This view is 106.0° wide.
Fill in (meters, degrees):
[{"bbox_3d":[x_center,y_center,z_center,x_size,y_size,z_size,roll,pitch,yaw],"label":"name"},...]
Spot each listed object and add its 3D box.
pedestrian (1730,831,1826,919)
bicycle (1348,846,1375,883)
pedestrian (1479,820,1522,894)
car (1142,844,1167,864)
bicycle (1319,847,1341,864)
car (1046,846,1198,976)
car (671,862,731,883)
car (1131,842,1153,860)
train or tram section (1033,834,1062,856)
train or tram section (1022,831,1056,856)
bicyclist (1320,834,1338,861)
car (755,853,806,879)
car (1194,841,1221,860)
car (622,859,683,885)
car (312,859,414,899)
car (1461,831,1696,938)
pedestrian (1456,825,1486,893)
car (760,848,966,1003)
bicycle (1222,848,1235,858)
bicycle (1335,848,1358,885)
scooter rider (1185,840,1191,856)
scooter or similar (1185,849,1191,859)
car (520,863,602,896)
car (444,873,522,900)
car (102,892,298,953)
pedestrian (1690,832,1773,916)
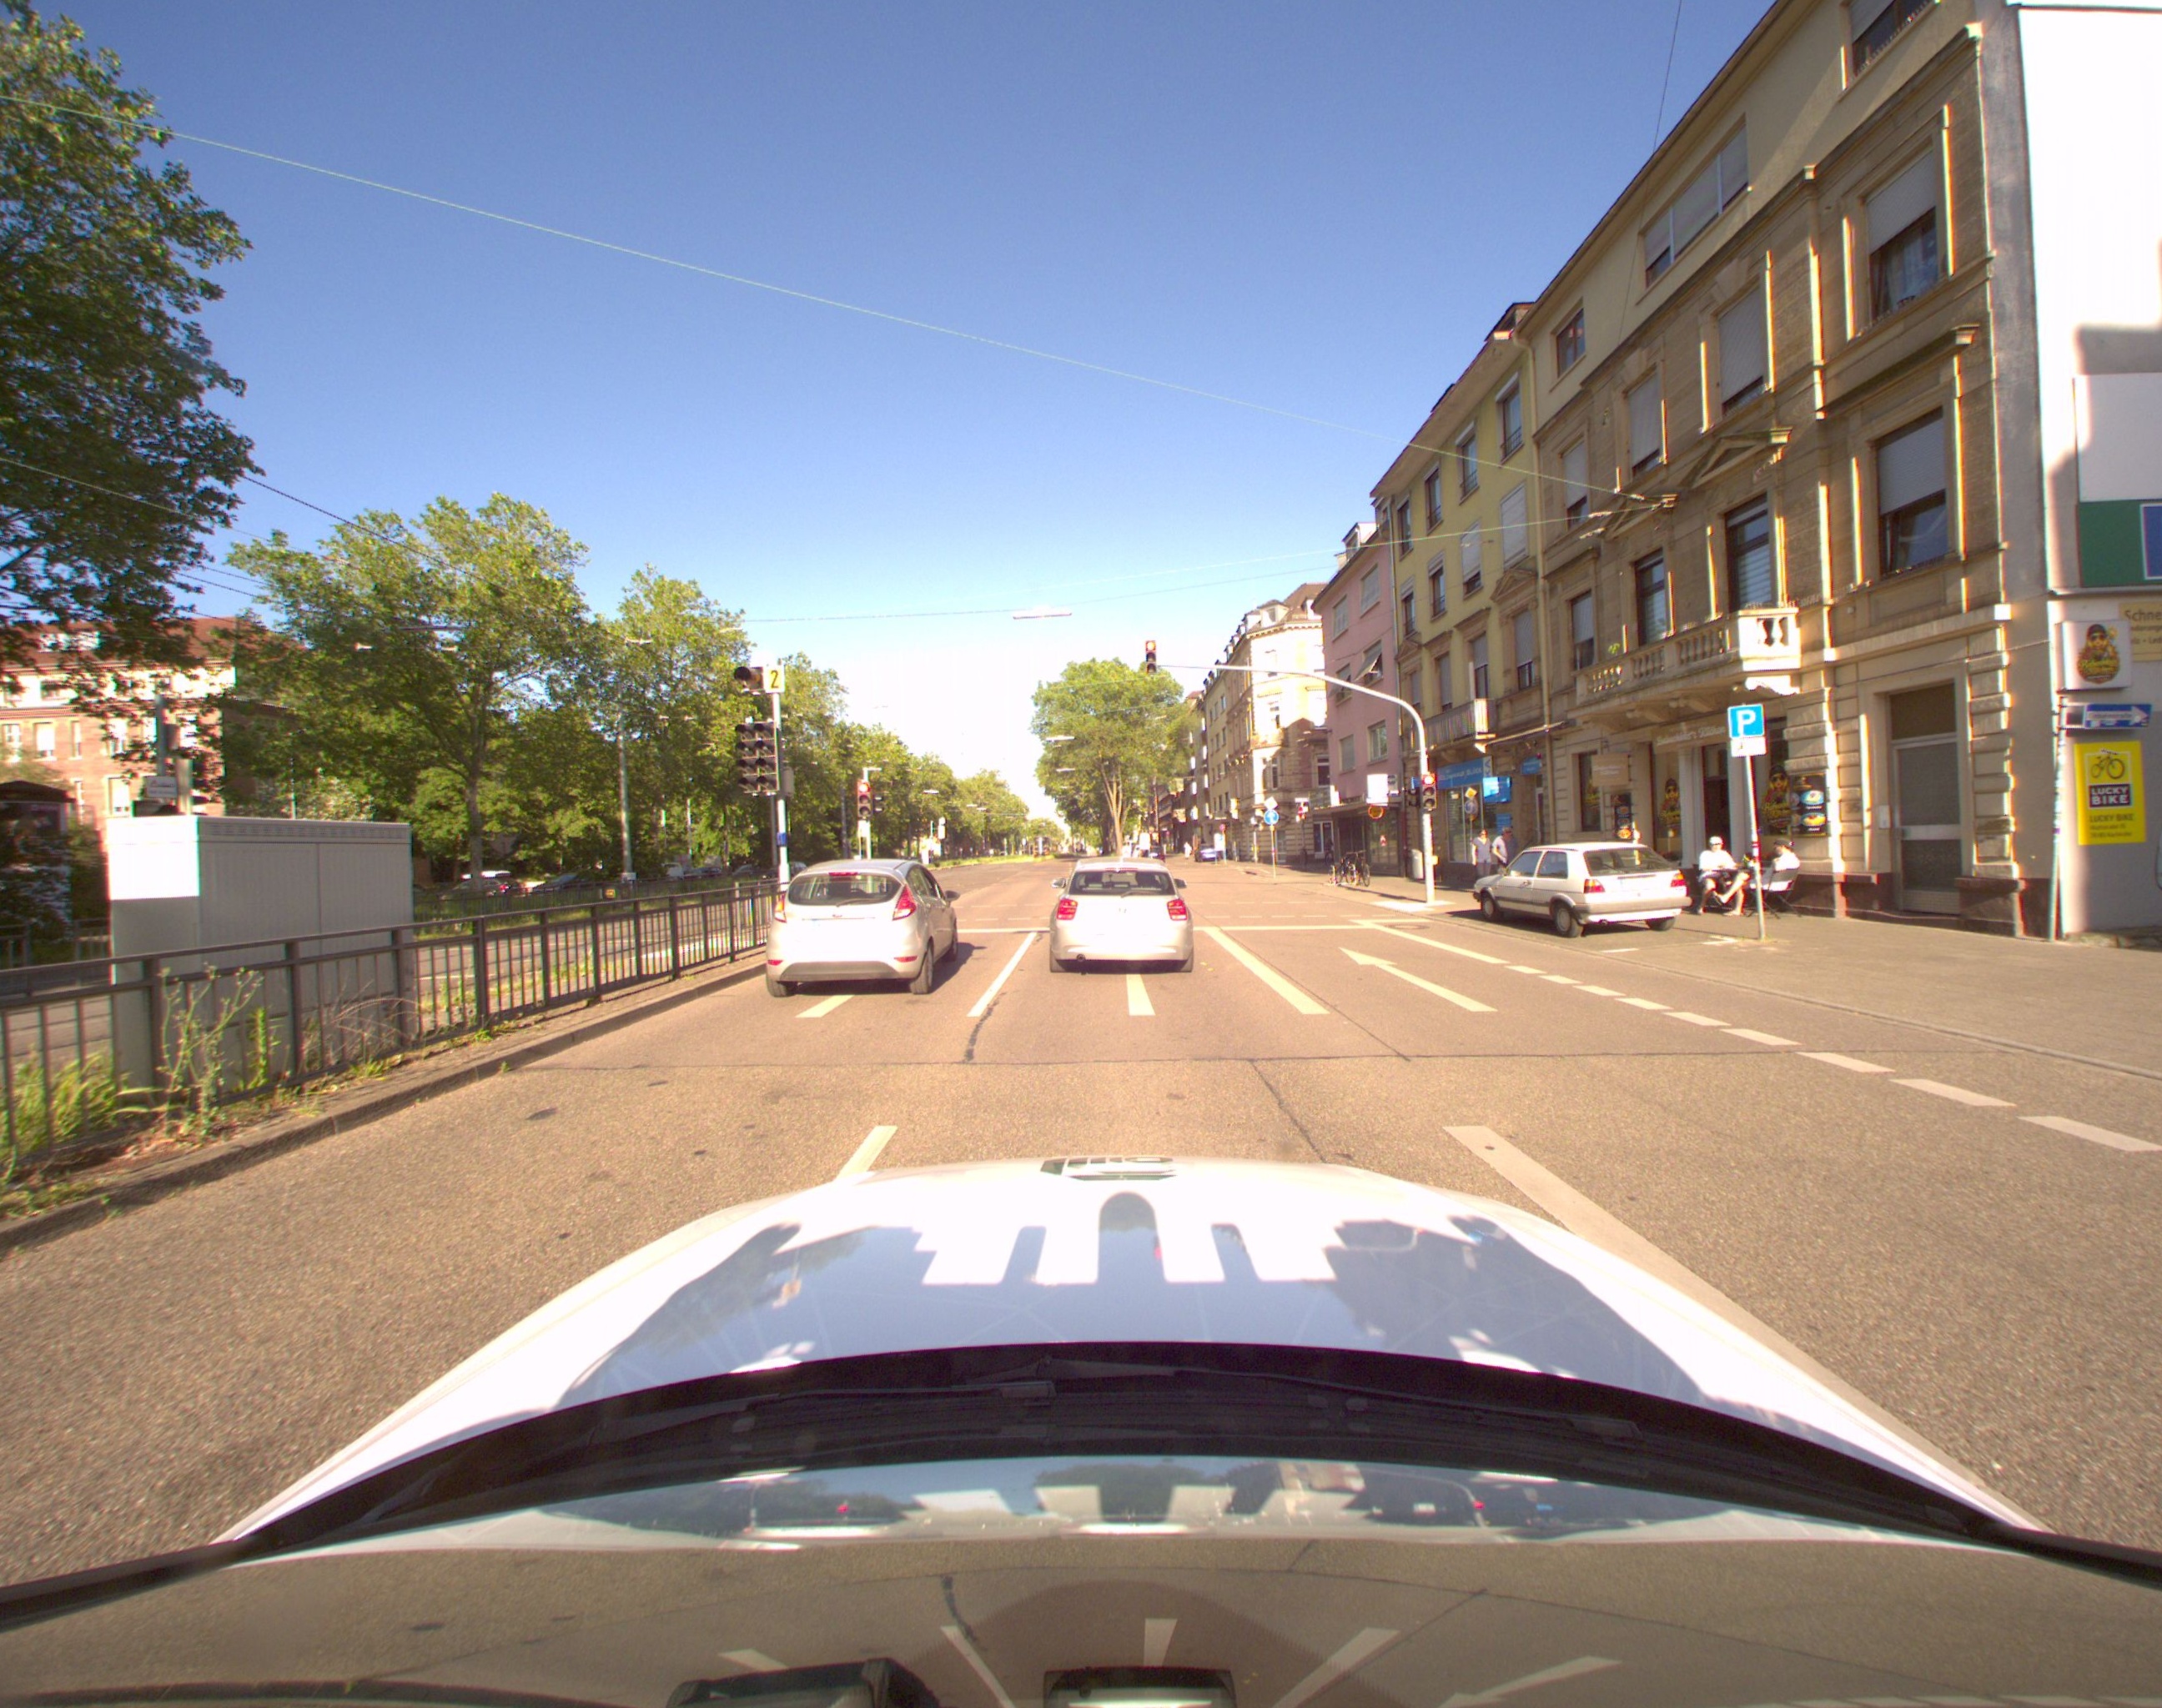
[{"bbox_3d":[10.981,0.320,12.850,0.899,1.281,0.655,-4,0,-4],"label":"pedestrian"},{"bbox_3d":[9.279,0.324,26.980,0.446,1.159,1.762,-2,1,8],"label":"bicycle"},{"bbox_3d":[10.679,0.076,20.738,0.670,1.806,0.531,-5,0,1],"label":"pedestrian"},{"bbox_3d":[5.584,-0.021,61.926,1.729,1.433,3.680,-1,1,2],"label":"car"},{"bbox_3d":[14.060,0.059,45.929,0.646,0.903,1.346,-1,1,43],"label":"bicycle"},{"bbox_3d":[0.533,0.640,11.343,1.733,1.467,4.002,0,1,2],"label":"car"},{"bbox_3d":[-27.352,1.316,58.811,1.929,1.349,4.849,-2,0,0],"label":"car"},{"bbox_3d":[5.495,-0.295,73.131,1.719,1.507,3.555,-1,1,0],"label":"car"},{"bbox_3d":[-6.072,-1.717,151.916,3.990,3.865,17.497,-2,1,2],"label":"train or tram section"},{"bbox_3d":[-6.739,-1.727,134.479,3.954,3.865,17.497,-2,1,2],"label":"train or tram section"},{"bbox_3d":[13.989,-0.359,45.916,0.541,1.502,0.967,-2,1,43],"label":"bicyclist"},{"bbox_3d":[-19.227,0.735,52.272,1.679,1.498,4.341,-2,1,-1],"label":"car"},{"bbox_3d":[10.483,-0.307,67.602,1.729,1.519,3.637,-1,1,1],"label":"car"},{"bbox_3d":[-27.600,1.125,52.624,1.664,1.509,4.145,-2,1,0],"label":"car"},{"bbox_3d":[-40.259,1.343,45.804,1.986,2.013,4.002,-2,1,2],"label":"car"},{"bbox_3d":[8.178,0.418,13.857,1.557,1.415,4.006,-5,1,2],"label":"car"},{"bbox_3d":[10.027,0.130,20.930,0.547,1.708,0.389,-2,0,4],"label":"pedestrian"},{"bbox_3d":[-2.445,0.694,10.075,1.605,1.467,3.886,-2,1,-3],"label":"car"},{"bbox_3d":[12.309,-0.103,67.881,0.752,0.770,1.945,-2,1,0],"label":"bicycle"},{"bbox_3d":[8.783,0.402,26.996,0.411,1.140,1.814,-1,1,8],"label":"bicycle"},{"bbox_3d":[10.361,-0.602,79.033,0.462,1.505,0.814,-2,0,15],"label":"scooter rider"},{"bbox_3d":[10.386,-0.005,79.040,0.335,0.988,1.290,-2,1,16],"label":"scooter or similar"},{"bbox_3d":[-27.863,1.343,43.810,1.664,1.509,4.145,-2,1,0],"label":"car"},{"bbox_3d":[-37.872,2.054,51.626,3.968,1.494,1.396,-2,1,5],"label":"car"},{"bbox_3d":[-28.042,2.124,26.148,1.664,1.509,4.145,-2,1,0],"label":"car"},{"bbox_3d":[10.793,0.322,13.524,0.795,1.281,0.608,-6,0,-1],"label":"pedestrian"}]
